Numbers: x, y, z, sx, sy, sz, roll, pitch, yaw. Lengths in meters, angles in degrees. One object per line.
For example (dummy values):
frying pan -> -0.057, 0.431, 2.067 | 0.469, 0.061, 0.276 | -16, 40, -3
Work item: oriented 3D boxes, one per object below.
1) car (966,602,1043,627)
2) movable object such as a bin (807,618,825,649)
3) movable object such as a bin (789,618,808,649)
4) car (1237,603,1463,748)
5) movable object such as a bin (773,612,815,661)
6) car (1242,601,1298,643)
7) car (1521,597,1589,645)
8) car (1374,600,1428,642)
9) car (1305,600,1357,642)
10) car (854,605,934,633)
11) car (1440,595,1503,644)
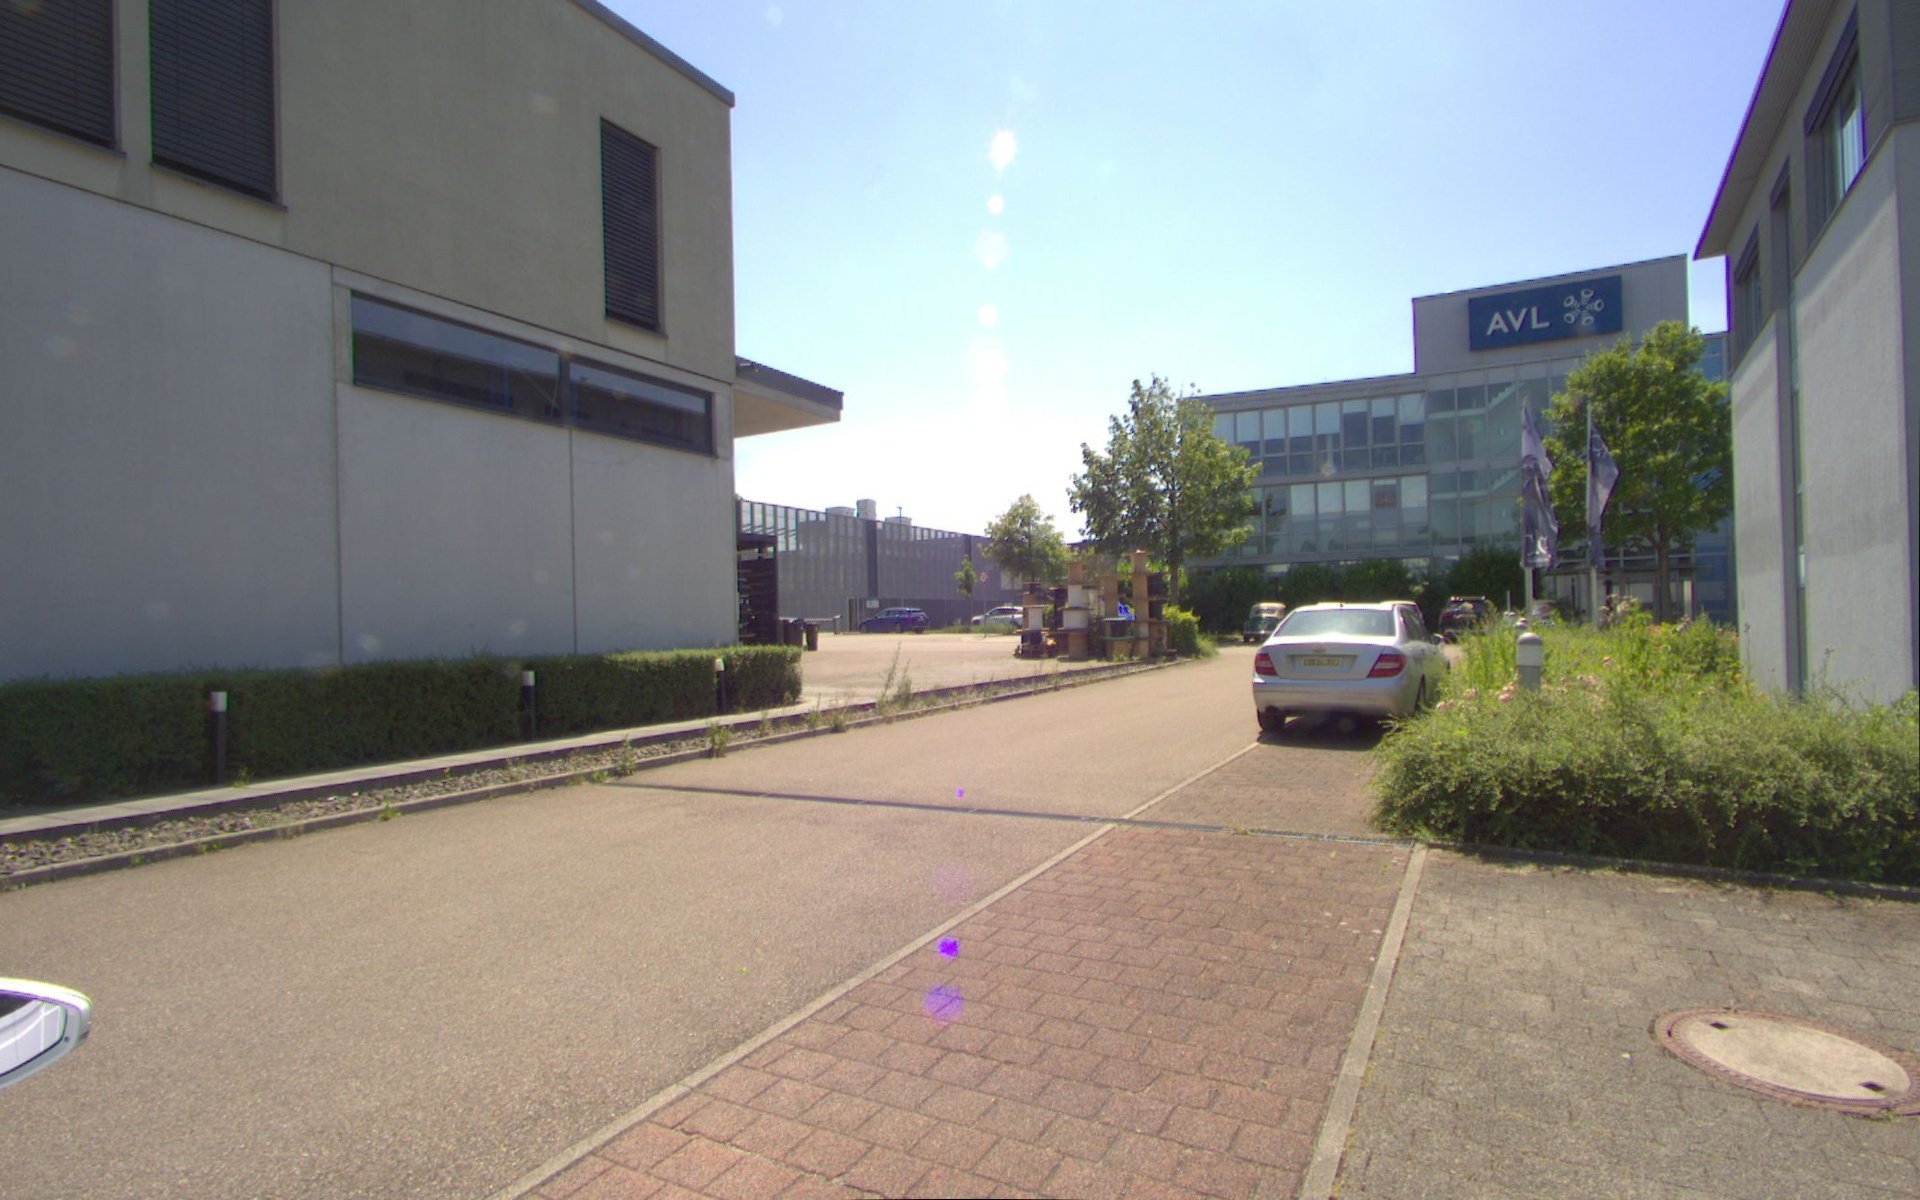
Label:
car -> 2.813, 0.926, 64.230 | 4.802, 1.511, 1.982 | 0, 1, 43
movable object such as a bin -> -4.873, 1.129, 33.832 | 0.567, 1.050, 0.425 | -1, 0, -4
movable object such as a bin -> -5.458, 1.129, 33.793 | 0.570, 1.041, 0.425 | -1, 0, -4
car -> 4.884, 0.779, 12.134 | 1.779, 1.416, 4.397 | -1, -1, 32
movable object such as a bin -> -4.772, 1.044, 28.827 | 0.802, 1.362, 0.879 | -1, 0, 34
car -> 11.989, 0.810, 38.613 | 1.522, 1.468, 3.640 | 0, 1, 26
car -> 20.495, 0.701, 34.624 | 1.748, 1.501, 4.241 | -1, 0, 27
car -> 16.356, 0.739, 37.266 | 1.741, 1.468, 3.643 | 0, 1, 23
car -> 13.985, 0.745, 37.636 | 1.708, 1.468, 3.643 | 0, 1, 23
car -> -3.769, 1.046, 56.820 | 4.465, 1.511, 1.982 | 0, 1, 43
car -> 18.195, 0.655, 35.646 | 1.903, 1.632, 3.970 | 0, 1, 27
